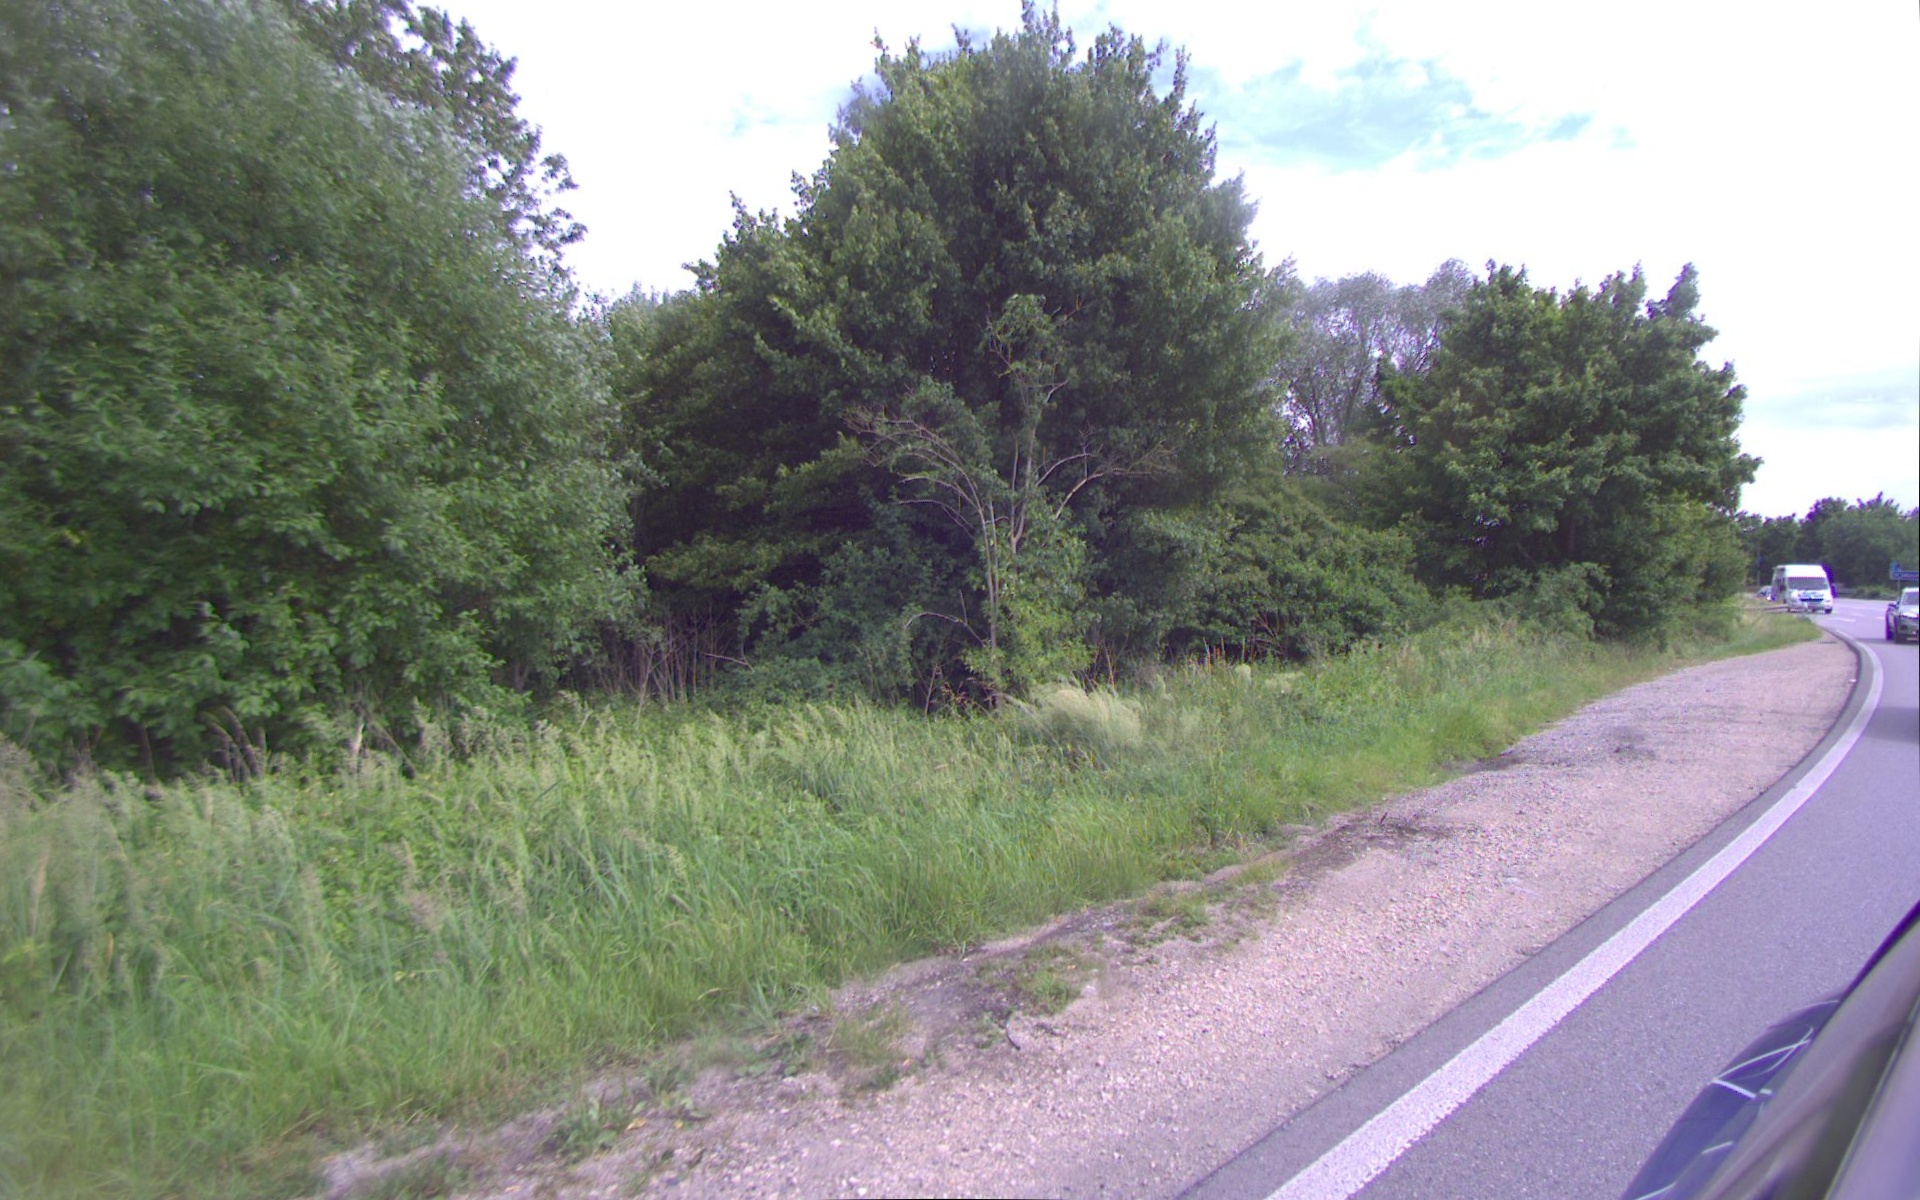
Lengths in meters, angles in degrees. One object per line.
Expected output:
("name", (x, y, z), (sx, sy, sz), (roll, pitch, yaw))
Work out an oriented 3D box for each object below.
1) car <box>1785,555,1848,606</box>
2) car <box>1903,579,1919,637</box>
("car", (48.509, -1.040, 57.423), (2.206, 2.704, 5.172), (-2, -1, 35))
("car", (28.978, 0.210, 29.452), (2.013, 1.633, 4.219), (0, 1, 40))
